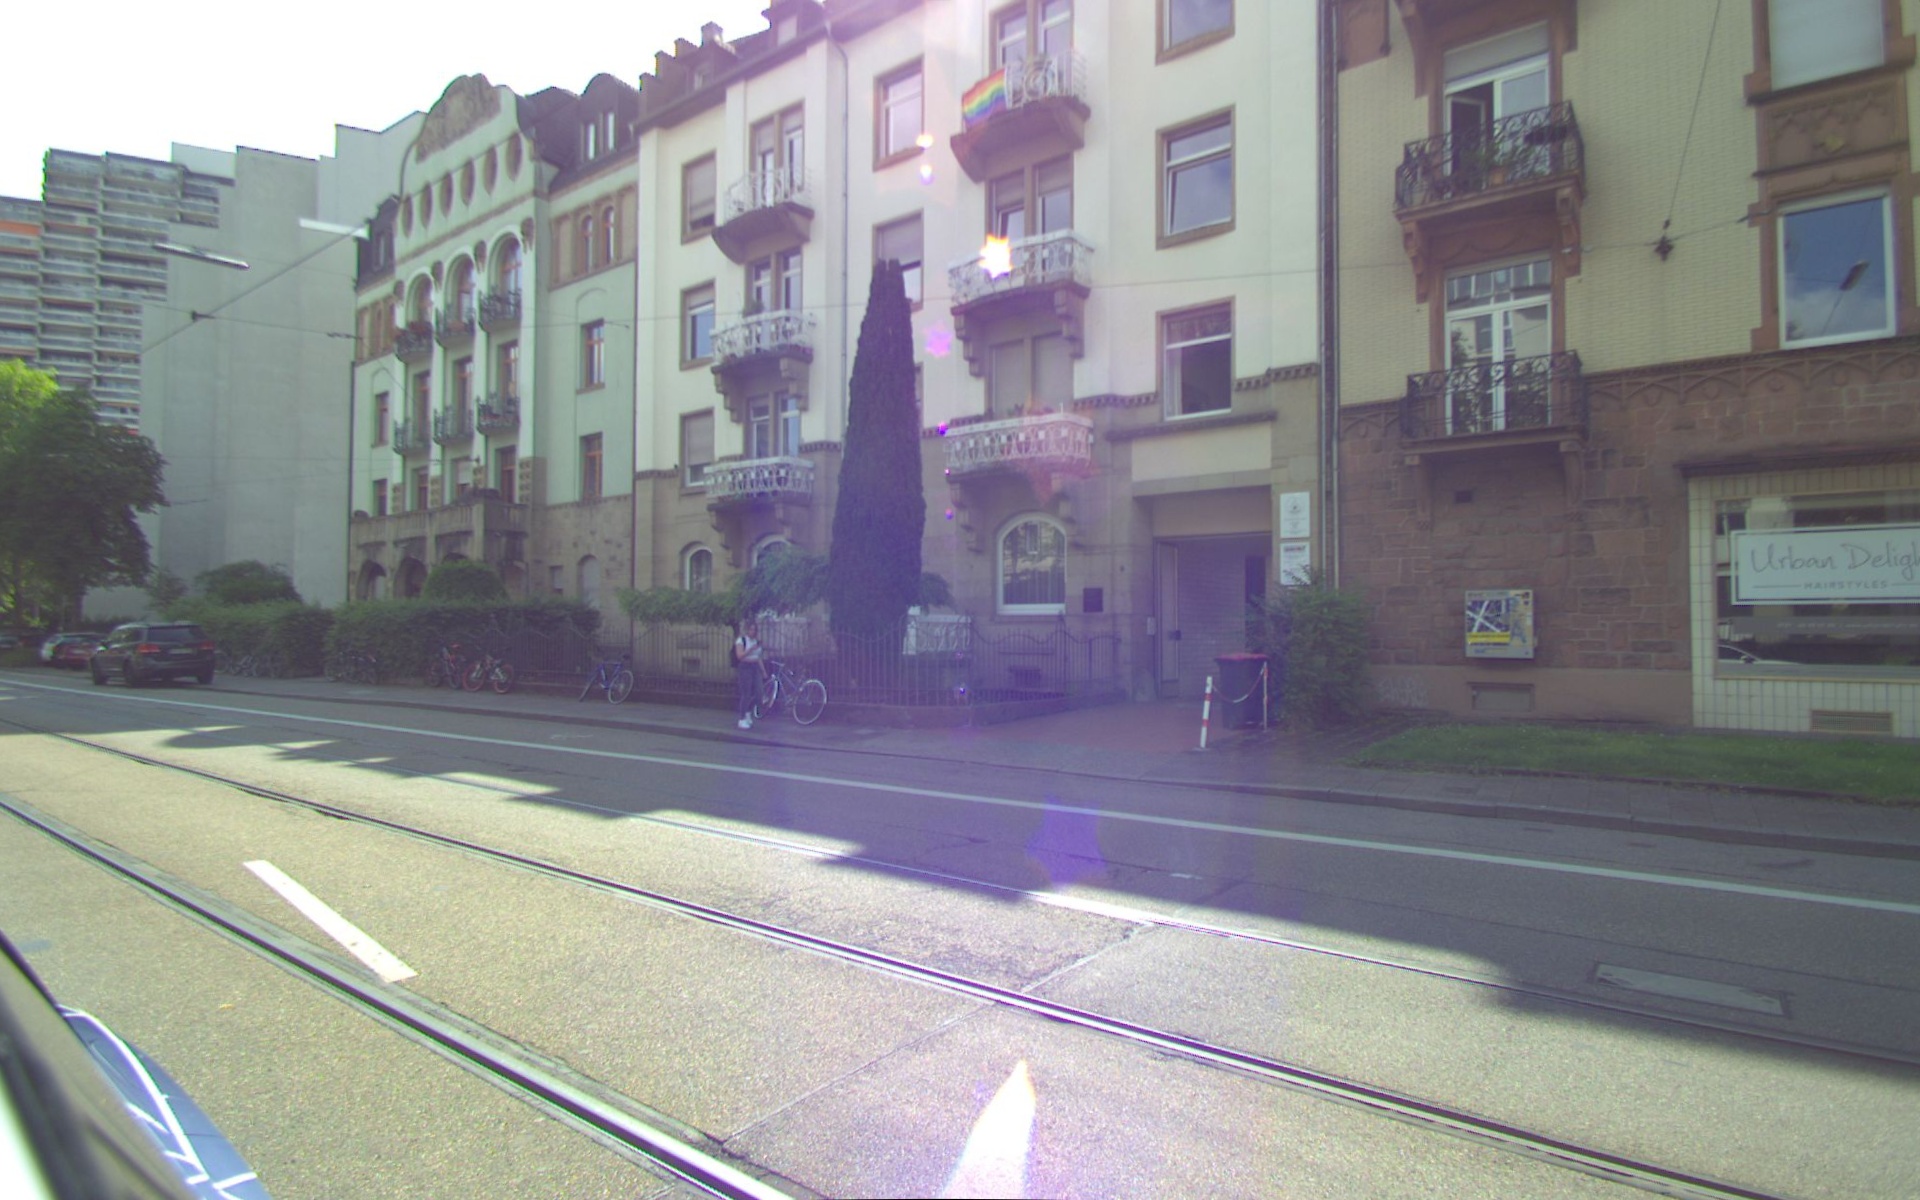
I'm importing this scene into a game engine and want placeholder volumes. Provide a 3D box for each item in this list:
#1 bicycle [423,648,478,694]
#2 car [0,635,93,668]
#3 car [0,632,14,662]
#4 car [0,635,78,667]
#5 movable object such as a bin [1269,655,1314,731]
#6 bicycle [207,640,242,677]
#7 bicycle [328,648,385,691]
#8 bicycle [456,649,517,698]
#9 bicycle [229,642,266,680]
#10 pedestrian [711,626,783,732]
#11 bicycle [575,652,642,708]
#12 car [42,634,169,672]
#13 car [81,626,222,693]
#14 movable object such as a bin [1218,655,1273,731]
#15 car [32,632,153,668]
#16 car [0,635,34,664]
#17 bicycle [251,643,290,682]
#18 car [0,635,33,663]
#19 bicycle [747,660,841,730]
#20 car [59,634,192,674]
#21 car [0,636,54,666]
[{"bbox_3d":[-11.710,1.623,23.240,1.785,1.003,0.462,-2,-3,40],"label":"bicycle"},{"bbox_3d":[-43.512,2.392,47.716,3.938,1.519,2.002,2,-3,-42],"label":"car"},{"bbox_3d":[-56.419,2.661,57.392,3.938,1.695,2.002,2,-3,-42],"label":"car"},{"bbox_3d":[-45.965,2.472,49.697,3.938,1.519,2.002,2,-3,-42],"label":"car"},{"bbox_3d":[4.654,1.298,14.218,0.531,1.037,0.475,0,-2,11],"label":"movable object such as a bin"},{"bbox_3d":[-23.716,1.863,32.620,1.785,1.144,0.462,-2,-3,40],"label":"bicycle"},{"bbox_3d":[-15.181,1.730,25.456,1.979,1.003,0.597,-2,-3,40],"label":"bicycle"},{"bbox_3d":[-10.296,1.585,21.975,1.785,1.003,0.462,-2,-3,40],"label":"bicycle"},{"bbox_3d":[-22.063,1.865,31.328,1.785,1.144,0.462,-2,-3,40],"label":"bicycle"},{"bbox_3d":[-3.220,1.171,15.309,0.764,1.553,0.749,-2,-3,39],"label":"pedestrian"},{"bbox_3d":[-6.713,1.505,19.274,0.461,1.003,1.788,2,-3,-45],"label":"bicycle"},{"bbox_3d":[-35.601,2.188,42.228,3.938,1.519,2.002,2,-3,-42],"label":"car"},{"bbox_3d":[-22.278,1.584,27.850,4.393,1.708,1.899,-1,-2,36],"label":"car"},{"bbox_3d":[4.022,1.304,14.292,0.697,1.037,0.475,0,-2,11],"label":"movable object such as a bin"},{"bbox_3d":[-38.204,2.188,44.645,3.938,1.519,2.002,2,-3,-42],"label":"car"},{"bbox_3d":[-51.335,2.599,53.135,3.938,1.519,2.002,2,-3,-42],"label":"car"},{"bbox_3d":[-20.539,1.844,30.124,1.785,1.144,0.462,-2,-3,40],"label":"bicycle"},{"bbox_3d":[-53.521,2.678,55.441,3.938,1.519,2.002,2,-3,-42],"label":"car"},{"bbox_3d":[-2.645,1.466,15.966,0.461,1.003,1.980,2,-3,-43],"label":"bicycle"},{"bbox_3d":[-32.921,2.101,39.970,3.938,1.519,2.002,2,-3,-42],"label":"car"},{"bbox_3d":[-48.645,2.566,51.350,3.938,1.519,2.002,2,-3,-42],"label":"car"}]
